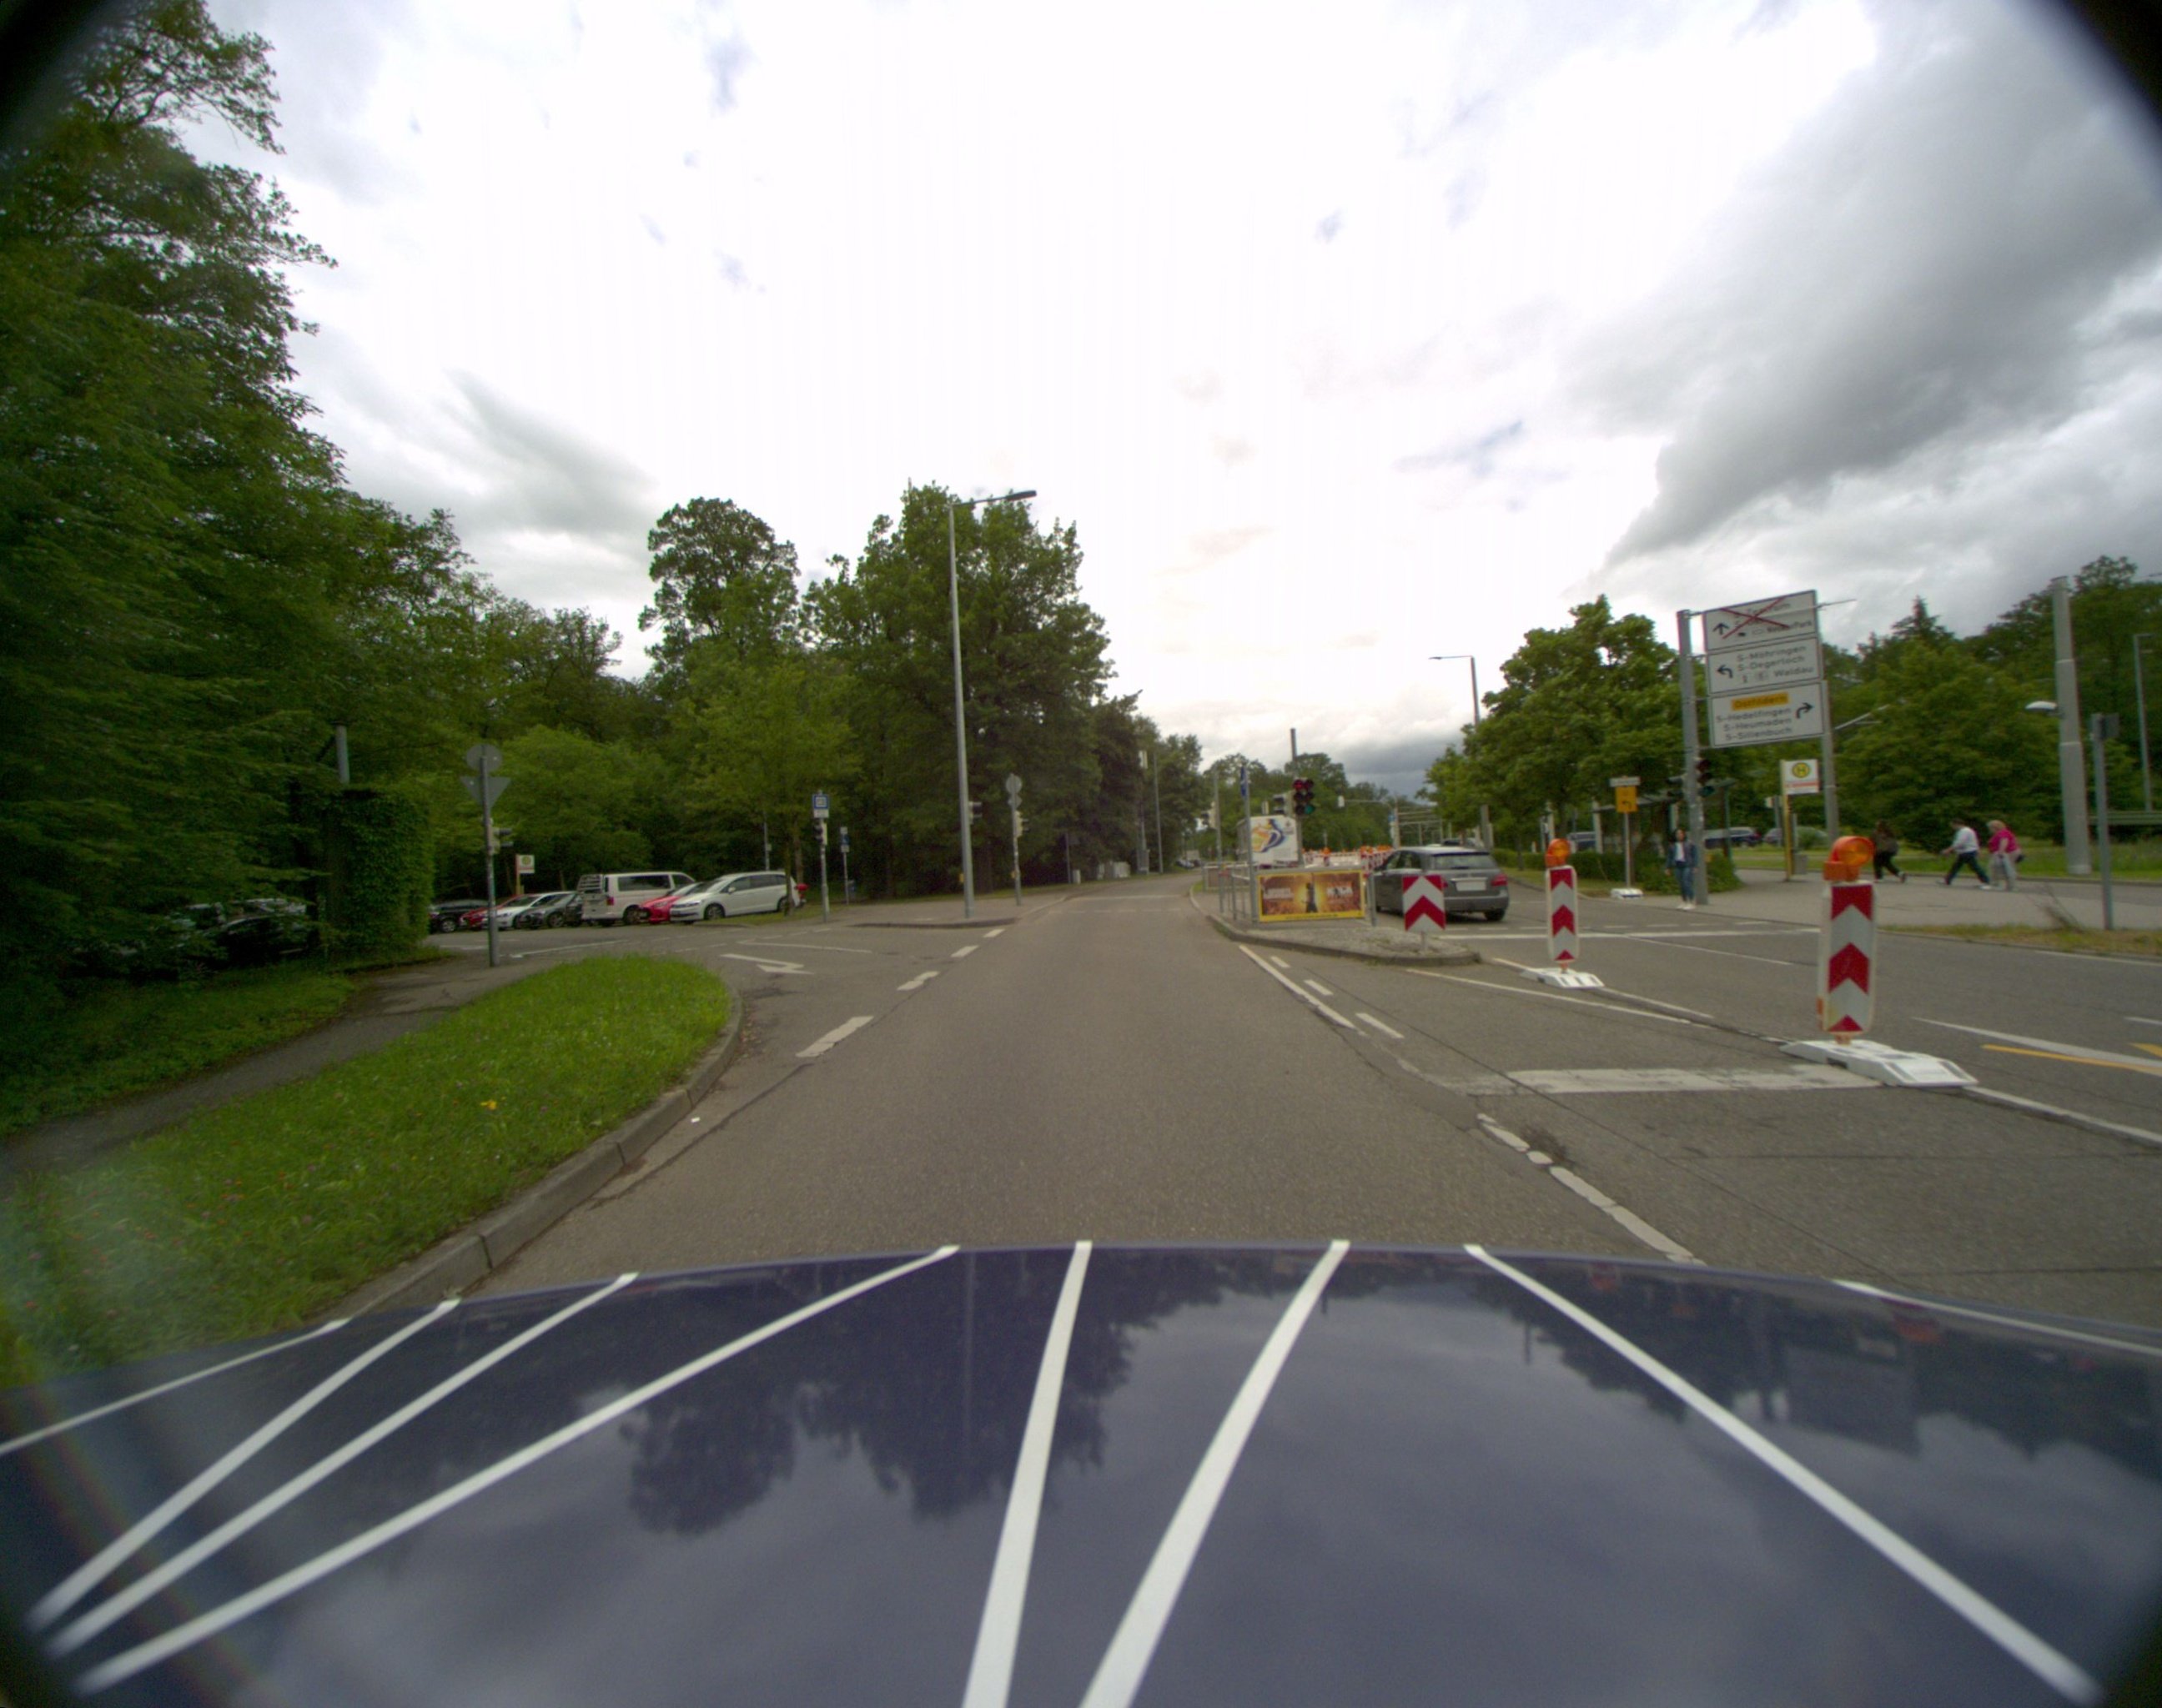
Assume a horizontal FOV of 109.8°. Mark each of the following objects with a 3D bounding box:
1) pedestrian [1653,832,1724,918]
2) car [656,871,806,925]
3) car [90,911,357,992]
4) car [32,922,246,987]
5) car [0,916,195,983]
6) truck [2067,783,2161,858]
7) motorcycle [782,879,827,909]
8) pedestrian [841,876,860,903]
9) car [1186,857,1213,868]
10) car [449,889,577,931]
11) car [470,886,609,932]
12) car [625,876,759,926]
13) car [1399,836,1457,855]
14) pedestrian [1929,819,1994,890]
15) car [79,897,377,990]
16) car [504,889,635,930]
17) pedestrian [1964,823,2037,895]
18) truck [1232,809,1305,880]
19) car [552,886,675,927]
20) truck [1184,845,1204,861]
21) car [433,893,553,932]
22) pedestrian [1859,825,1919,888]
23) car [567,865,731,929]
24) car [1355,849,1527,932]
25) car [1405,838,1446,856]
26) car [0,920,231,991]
[{"bbox_3d":[12.497,0.411,15.632,1.096,1.666,0.909,-3,1,-40],"label":"pedestrian"},{"bbox_3d":[-12.496,1.532,27.390,1.995,1.542,4.429,-4,-1,33],"label":"car"},{"bbox_3d":[-20.610,2.293,18.491,1.817,1.411,3.854,-4,-1,21],"label":"car"},{"bbox_3d":[-27.539,2.895,22.357,1.779,1.405,3.614,-4,-1,27],"label":"car"},{"bbox_3d":[-31.873,3.008,24.396,1.844,1.608,3.997,-4,-1,23],"label":"car"},{"bbox_3d":[33.744,-1.152,21.674,2.609,2.157,6.294,-4,-1,-20],"label":"truck"},{"bbox_3d":[-12.438,1.792,34.153,1.953,1.197,0.591,-4,0,25],"label":"motorcycle"},{"bbox_3d":[-14.470,2.216,47.786,0.833,1.641,1.035,-4,0,-5],"label":"pedestrian"},{"bbox_3d":[19.841,1.368,126.944,1.883,1.586,4.441,-4,-1,-34],"label":"car"},{"bbox_3d":[-25.761,2.514,34.606,1.815,1.486,4.207,-4,-1,29],"label":"car"},{"bbox_3d":[-23.495,2.362,33.178,1.839,1.548,4.540,-4,-1,26],"label":"car"},{"bbox_3d":[-14.614,1.737,28.720,1.890,1.543,4.007,-4,-1,33],"label":"car"},{"bbox_3d":[34.879,-0.844,76.552,1.961,1.578,4.898,-4,-1,-37],"label":"car"},{"bbox_3d":[21.357,0.022,18.432,0.686,1.655,0.868,-4,0,-33],"label":"pedestrian"},{"bbox_3d":[-22.883,2.312,20.685,1.995,1.867,4.958,-4,-1,27],"label":"car"},{"bbox_3d":[-21.463,2.297,32.080,1.815,1.317,4.136,-4,-1,29],"label":"car"},{"bbox_3d":[20.665,0.113,17.088,0.793,1.542,0.774,-4,0,-22],"label":"pedestrian"},{"bbox_3d":[9.349,-0.455,38.580,2.634,3.219,6.208,-1,0,5],"label":"truck"},{"bbox_3d":[-19.292,2.156,31.519,1.717,1.320,3.942,-4,-1,27],"label":"car"},{"bbox_3d":[24.538,-0.229,164.288,2.742,3.192,6.682,-4,-1,20],"label":"truck"},{"bbox_3d":[-27.778,2.751,36.055,1.760,1.448,4.075,-4,-1,29],"label":"car"},{"bbox_3d":[20.575,0.059,19.371,0.775,1.537,0.629,-4,1,11],"label":"pedestrian"},{"bbox_3d":[-16.910,1.633,30.067,2.058,1.946,5.191,-4,1,29],"label":"car"},{"bbox_3d":[7.596,0.688,16.547,1.812,1.500,4.308,-1,1,2],"label":"car"},{"bbox_3d":[39.526,-0.809,87.205,1.861,1.712,3.785,-4,-1,-28],"label":"car"},{"bbox_3d":[-29.436,3.046,23.339,1.844,1.612,3.997,-4,-1,23],"label":"car"}]
